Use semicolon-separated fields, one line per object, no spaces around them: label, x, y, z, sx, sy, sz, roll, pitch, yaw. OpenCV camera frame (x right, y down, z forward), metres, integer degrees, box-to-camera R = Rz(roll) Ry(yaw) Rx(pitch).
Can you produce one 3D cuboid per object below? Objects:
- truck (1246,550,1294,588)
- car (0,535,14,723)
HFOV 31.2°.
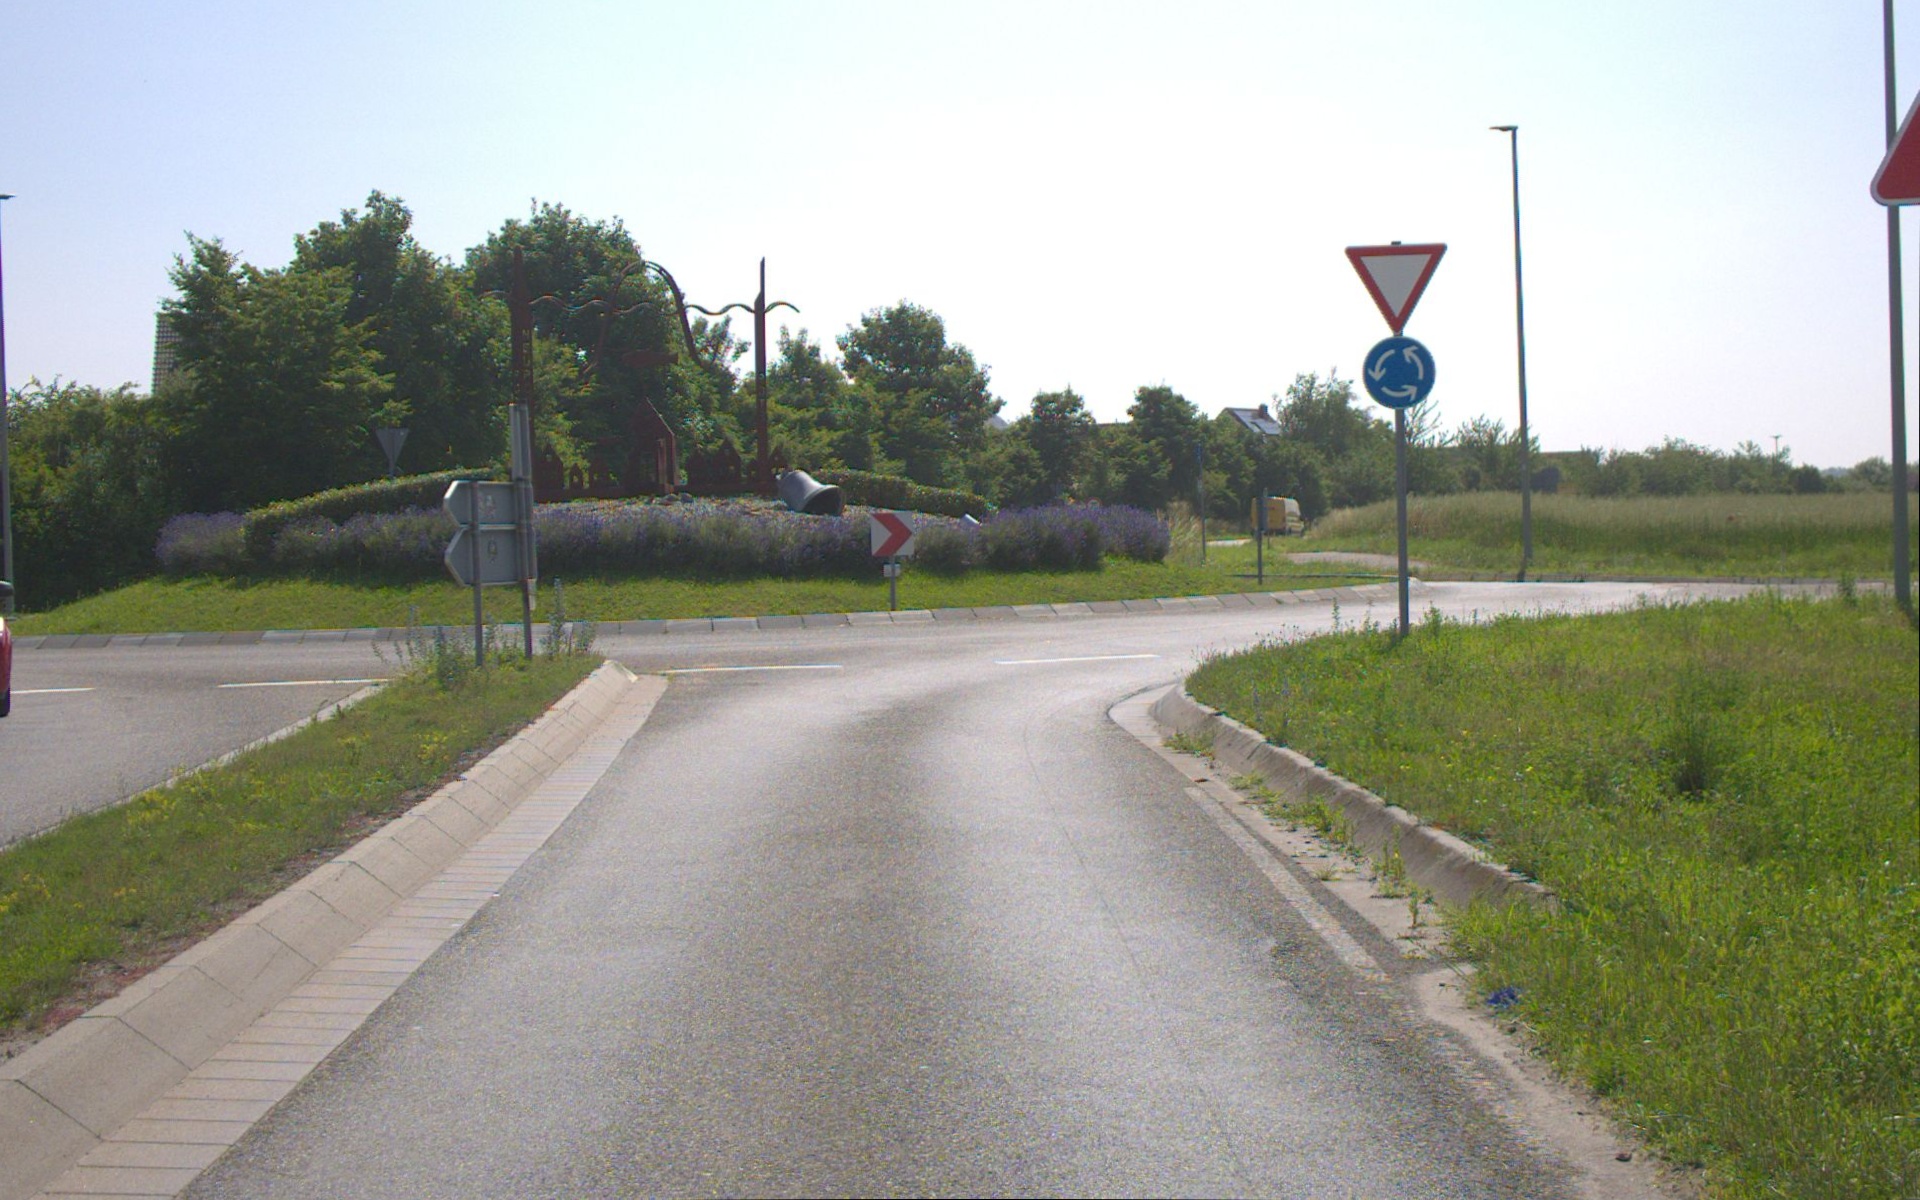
truck;17.081;-1.697;189.127;1.995;2.007;3.997;-1;0;14
car;-9.014;0.288;28.779;1.627;1.486;3.803;-3;0;-22
